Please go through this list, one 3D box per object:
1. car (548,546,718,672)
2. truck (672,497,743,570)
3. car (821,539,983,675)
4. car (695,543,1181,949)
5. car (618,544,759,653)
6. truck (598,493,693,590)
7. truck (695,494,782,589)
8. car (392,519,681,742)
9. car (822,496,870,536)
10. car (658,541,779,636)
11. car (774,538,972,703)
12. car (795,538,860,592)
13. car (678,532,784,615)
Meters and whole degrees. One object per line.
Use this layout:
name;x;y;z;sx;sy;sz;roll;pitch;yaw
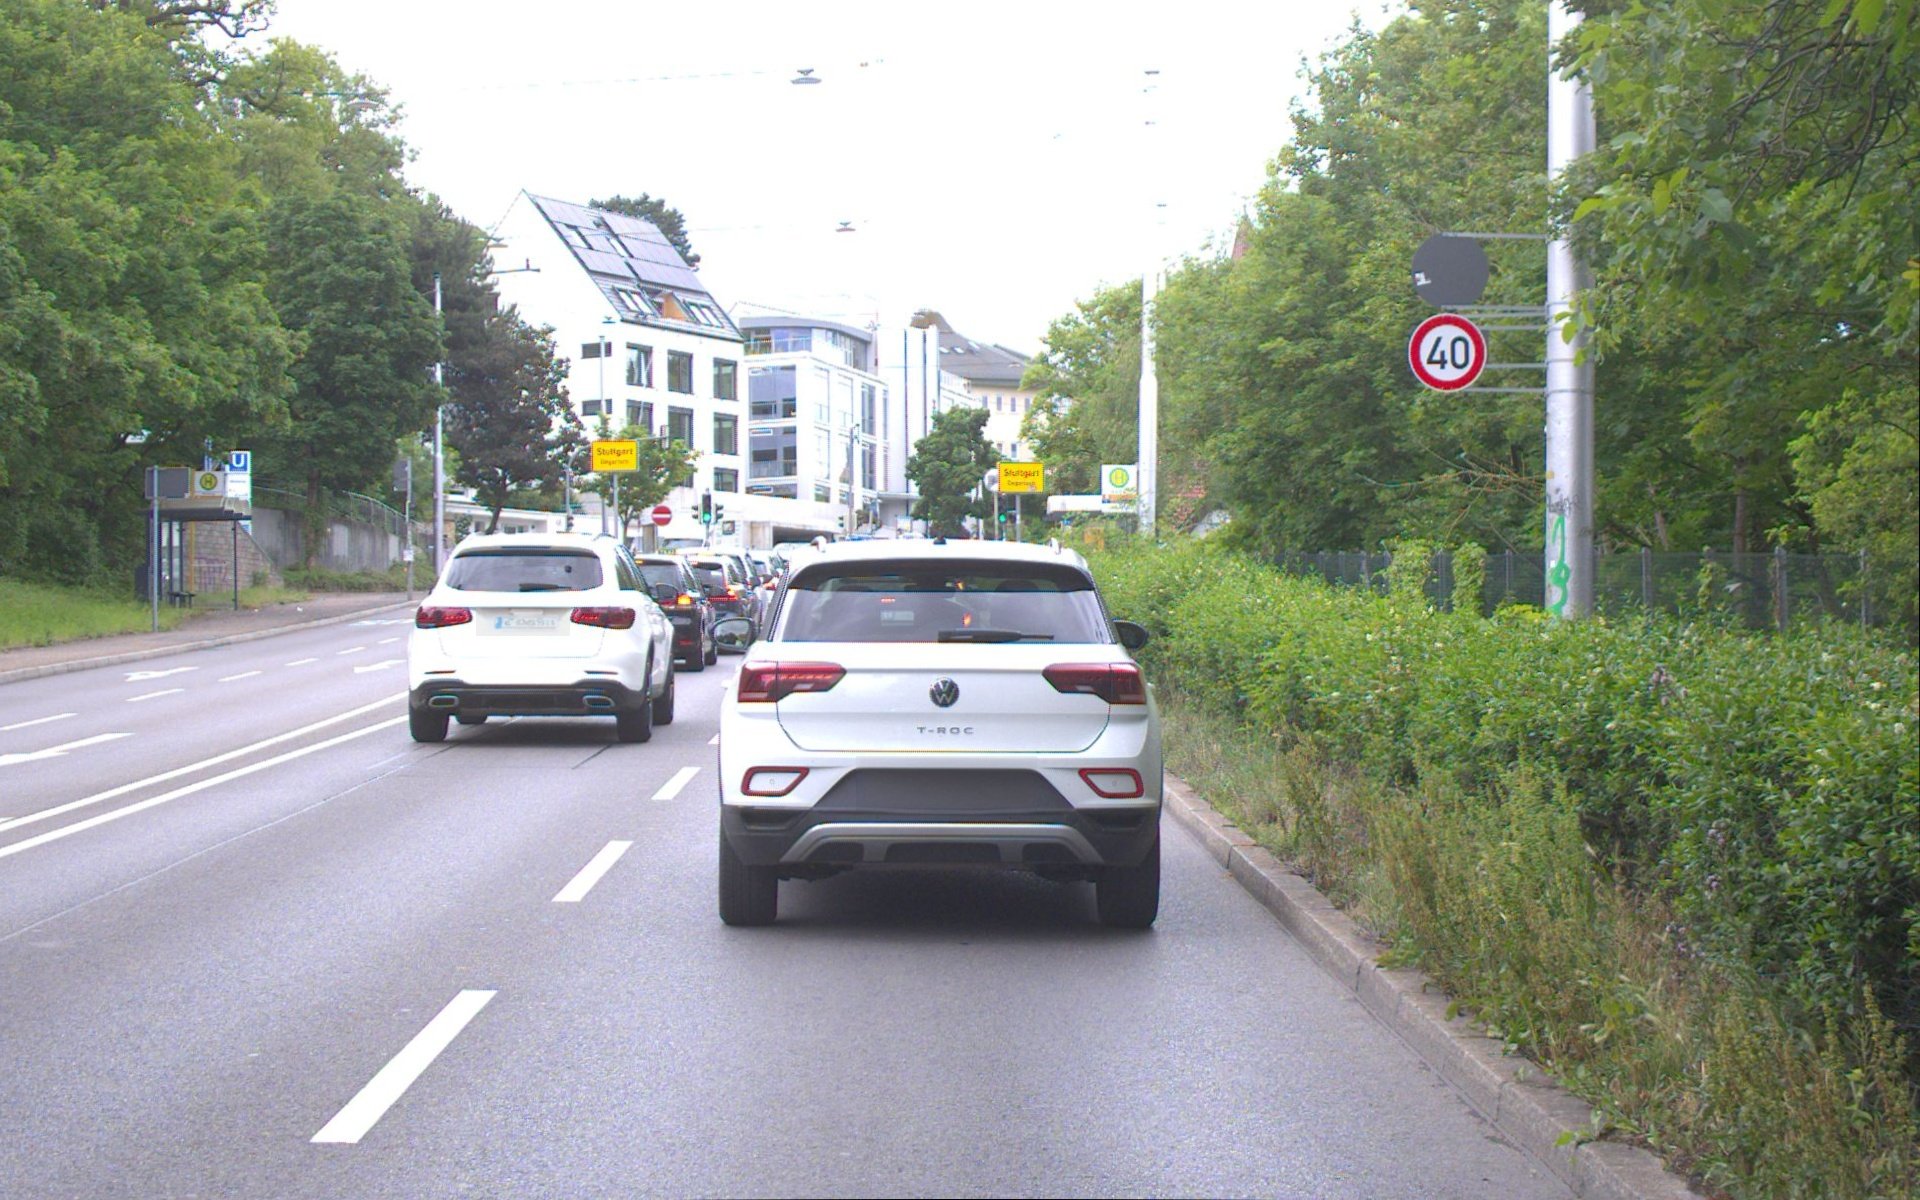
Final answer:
car;-4.110;0.075;43.675;1.829;1.492;4.000;-1;1;-1
truck;-10.905;-2.865;149.003;2.293;3.040;6.979;-1;1;2
car;-0.705;0.054;41.345;1.829;1.520;4.000;-1;1;-1
car;-0.123;0.522;15.015;1.829;1.520;4.000;0;1;-1
car;-4.004;-0.050;51.157;1.829;1.520;4.000;-1;1;-1
truck;-9.165;-1.706;100.456;2.362;2.697;4.478;-2;1;-1
truck;-6.750;-1.799;105.078;2.362;2.772;4.478;-2;1;-1
car;-3.350;0.197;27.857;1.918;1.664;4.000;0;1;-1
car;-4.537;-3.340;136.684;1.829;1.520;4.000;-1;1;-1
car;-4.068;-0.219;58.507;1.829;1.520;4.000;-1;1;-1
car;-0.857;0.164;34.340;1.829;1.520;4.000;-1;1;-1
car;-3.928;-1.052;102.129;1.829;1.520;4.000;-1;1;-1
car;-4.380;-0.520;66.189;1.829;1.520;4.000;-1;1;-1
